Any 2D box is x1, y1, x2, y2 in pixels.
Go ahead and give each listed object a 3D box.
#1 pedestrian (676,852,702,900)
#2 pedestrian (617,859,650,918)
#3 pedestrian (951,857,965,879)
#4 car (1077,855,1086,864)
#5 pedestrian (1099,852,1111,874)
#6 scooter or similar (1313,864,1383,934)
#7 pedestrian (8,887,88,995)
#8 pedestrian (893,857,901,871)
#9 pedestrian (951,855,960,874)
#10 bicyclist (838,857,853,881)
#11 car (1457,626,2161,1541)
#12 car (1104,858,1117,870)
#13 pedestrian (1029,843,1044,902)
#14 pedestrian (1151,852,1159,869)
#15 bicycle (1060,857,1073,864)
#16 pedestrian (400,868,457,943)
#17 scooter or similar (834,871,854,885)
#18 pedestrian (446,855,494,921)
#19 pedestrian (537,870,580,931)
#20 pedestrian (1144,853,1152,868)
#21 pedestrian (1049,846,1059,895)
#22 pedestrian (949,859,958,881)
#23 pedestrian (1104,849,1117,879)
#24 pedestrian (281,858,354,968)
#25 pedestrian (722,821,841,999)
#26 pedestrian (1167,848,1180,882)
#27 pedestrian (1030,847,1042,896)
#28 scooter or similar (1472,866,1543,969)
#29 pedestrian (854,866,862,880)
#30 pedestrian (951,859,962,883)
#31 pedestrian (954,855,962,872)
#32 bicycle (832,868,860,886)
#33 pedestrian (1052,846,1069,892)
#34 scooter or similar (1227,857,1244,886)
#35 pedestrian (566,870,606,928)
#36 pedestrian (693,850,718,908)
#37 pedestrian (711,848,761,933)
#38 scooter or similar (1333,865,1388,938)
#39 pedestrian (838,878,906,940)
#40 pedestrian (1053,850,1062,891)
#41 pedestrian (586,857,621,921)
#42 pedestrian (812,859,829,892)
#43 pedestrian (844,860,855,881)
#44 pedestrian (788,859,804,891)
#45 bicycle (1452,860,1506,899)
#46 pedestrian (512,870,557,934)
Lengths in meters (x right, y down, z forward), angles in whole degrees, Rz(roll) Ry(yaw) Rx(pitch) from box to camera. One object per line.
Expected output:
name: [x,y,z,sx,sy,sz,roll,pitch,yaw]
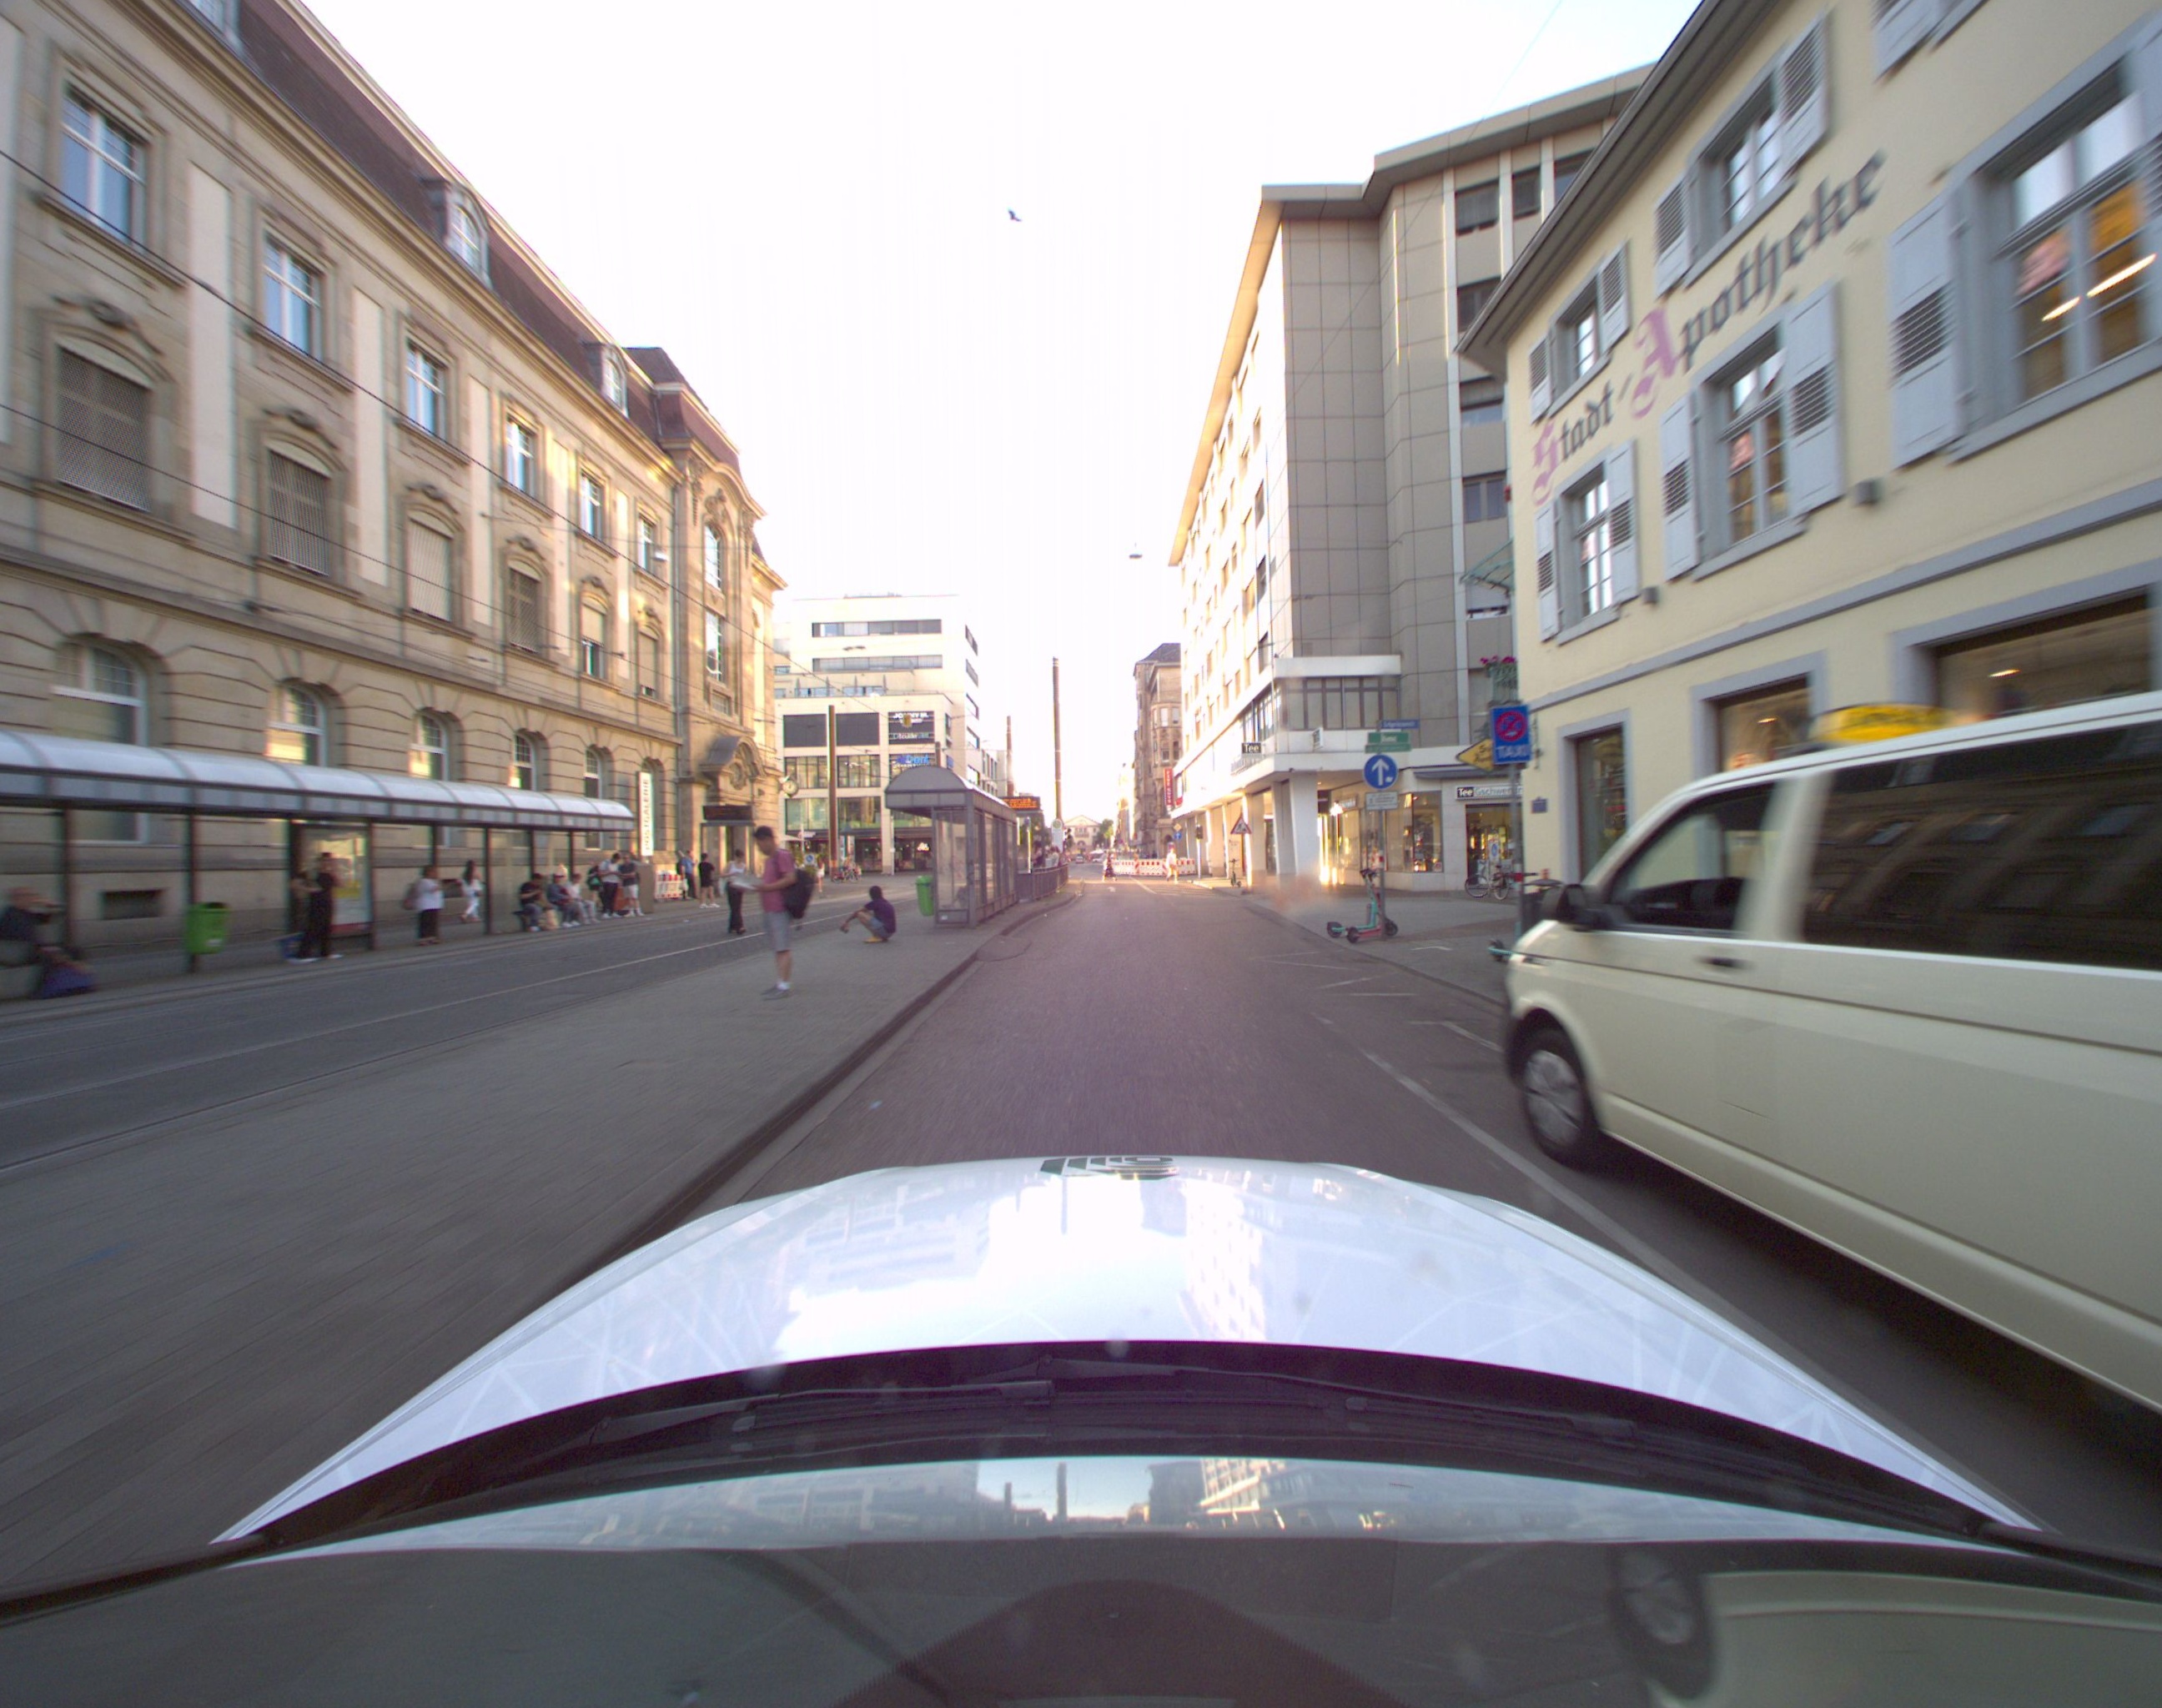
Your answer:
pedestrian: [-14.751,0.832,30.673,0.619,1.776,0.705,-1,0,-3]
pedestrian: [-12.200,0.934,22.200,0.515,1.569,0.638,-1,-1,4]
pedestrian: [-9.284,1.028,61.366,0.825,1.614,0.687,-1,-1,-25]
car: [0.027,1.220,181.700,1.987,1.904,3.999,0,-1,0]
pedestrian: [1.960,0.754,65.688,0.859,1.761,0.770,0,-1,12]
scooter or similar: [4.959,0.838,15.157,1.166,1.234,0.318,-3,-1,17]
pedestrian: [-11.929,0.992,9.411,0.362,1.200,0.430,0,-1,7]
pedestrian: [-20.077,1.053,88.865,0.569,1.526,0.793,0,-1,12]
pedestrian: [-11.124,0.913,72.054,0.645,1.674,0.531,-1,-1,9]
bicyclist: [-15.382,0.972,53.139,0.788,1.593,0.609,-1,-1,-6]
car: [3.225,0.504,2.660,1.870,1.923,4.699,1,-1,1]
car: [4.254,1.461,118.428,1.673,1.613,4.028,-3,-1,0]
pedestrian: [-1.339,0.563,24.585,0.411,1.767,0.594,0,-1,-1]
pedestrian: [7.467,0.625,82.360,0.623,1.690,0.671,-2,-1,-1]
bicycle: [-2.451,1.040,135.549,2.140,1.029,0.641,-2,-1,2]
pedestrian: [-11.916,0.927,14.888,0.515,1.327,0.638,-1,-1,4]
scooter or similar: [-16.554,1.684,56.921,1.089,0.904,0.891,-1,0,2]
pedestrian: [-15.294,0.840,20.406,0.697,1.614,0.630,0,-1,-1]
pedestrian: [-11.718,1.030,18.265,0.515,1.327,0.638,-1,-1,4]
pedestrian: [7.260,0.685,88.064,0.709,1.611,0.821,0,-1,-2]
pedestrian: [-1.006,0.618,30.416,0.341,1.796,0.544,0,-1,-1]
pedestrian: [-9.242,1.185,59.075,0.568,1.593,0.447,-1,-1,-6]
pedestrian: [1.651,0.569,45.653,0.698,1.693,0.540,0,-1,-7]
pedestrian: [-11.894,0.902,12.695,0.514,1.650,0.640,-1,-1,11]
pedestrian: [-2.954,0.519,8.052,0.679,1.638,0.866,-1,-1,41]
pedestrian: [4.998,0.586,44.064,0.696,1.815,0.853,0,-1,6]
pedestrian: [-1.512,0.586,27.597,0.384,1.642,0.549,0,-1,-1]
scooter or similar: [5.522,0.785,10.601,0.270,1.234,1.309,-3,-1,5]
pedestrian: [-15.749,1.371,57.627,0.420,0.965,0.419,-1,0,2]
pedestrian: [-8.940,1.188,58.495,0.743,1.700,0.608,-1,-1,-8]
pedestrian: [-13.129,1.035,87.050,0.569,1.855,0.819,0,-1,12]
bicycle: [-15.300,1.476,53.134,1.617,1.103,0.629,-2,-1,-5]
pedestrian: [-0.781,0.572,31.143,0.536,1.767,0.595,0,-1,6]
scooter or similar: [6.811,0.764,35.925,0.503,1.234,1.179,-1,-1,0]
pedestrian: [-11.629,1.040,19.135,0.515,1.327,0.638,-1,-1,4]
pedestrian: [-11.672,0.780,25.303,0.558,1.776,0.468,-1,0,-4]
pedestrian: [-7.024,0.729,16.609,0.669,1.691,0.641,-1,-1,21]
scooter or similar: [4.971,0.827,14.459,1.051,1.234,0.269,-2,-1,-32]
pedestrian: [-3.358,0.871,13.120,0.791,0.939,0.697,-1,0,23]
pedestrian: [-0.926,0.645,32.702,0.356,1.642,0.502,0,-1,-1]
pedestrian: [-12.560,0.909,21.436,0.515,1.646,0.638,-1,-1,4]
pedestrian: [-12.121,1.011,37.879,0.522,1.525,0.504,-1,-1,11]
pedestrian: [-16.369,1.169,57.640,0.636,1.420,0.419,-1,-1,2]
pedestrian: [-13.683,0.988,39.079,0.497,1.525,0.521,-1,-1,10]
bicycle: [11.514,0.728,23.613,0.766,1.028,1.849,0,1,4]
pedestrian: [-11.729,1.021,17.497,0.515,1.327,0.638,-1,-1,4]
